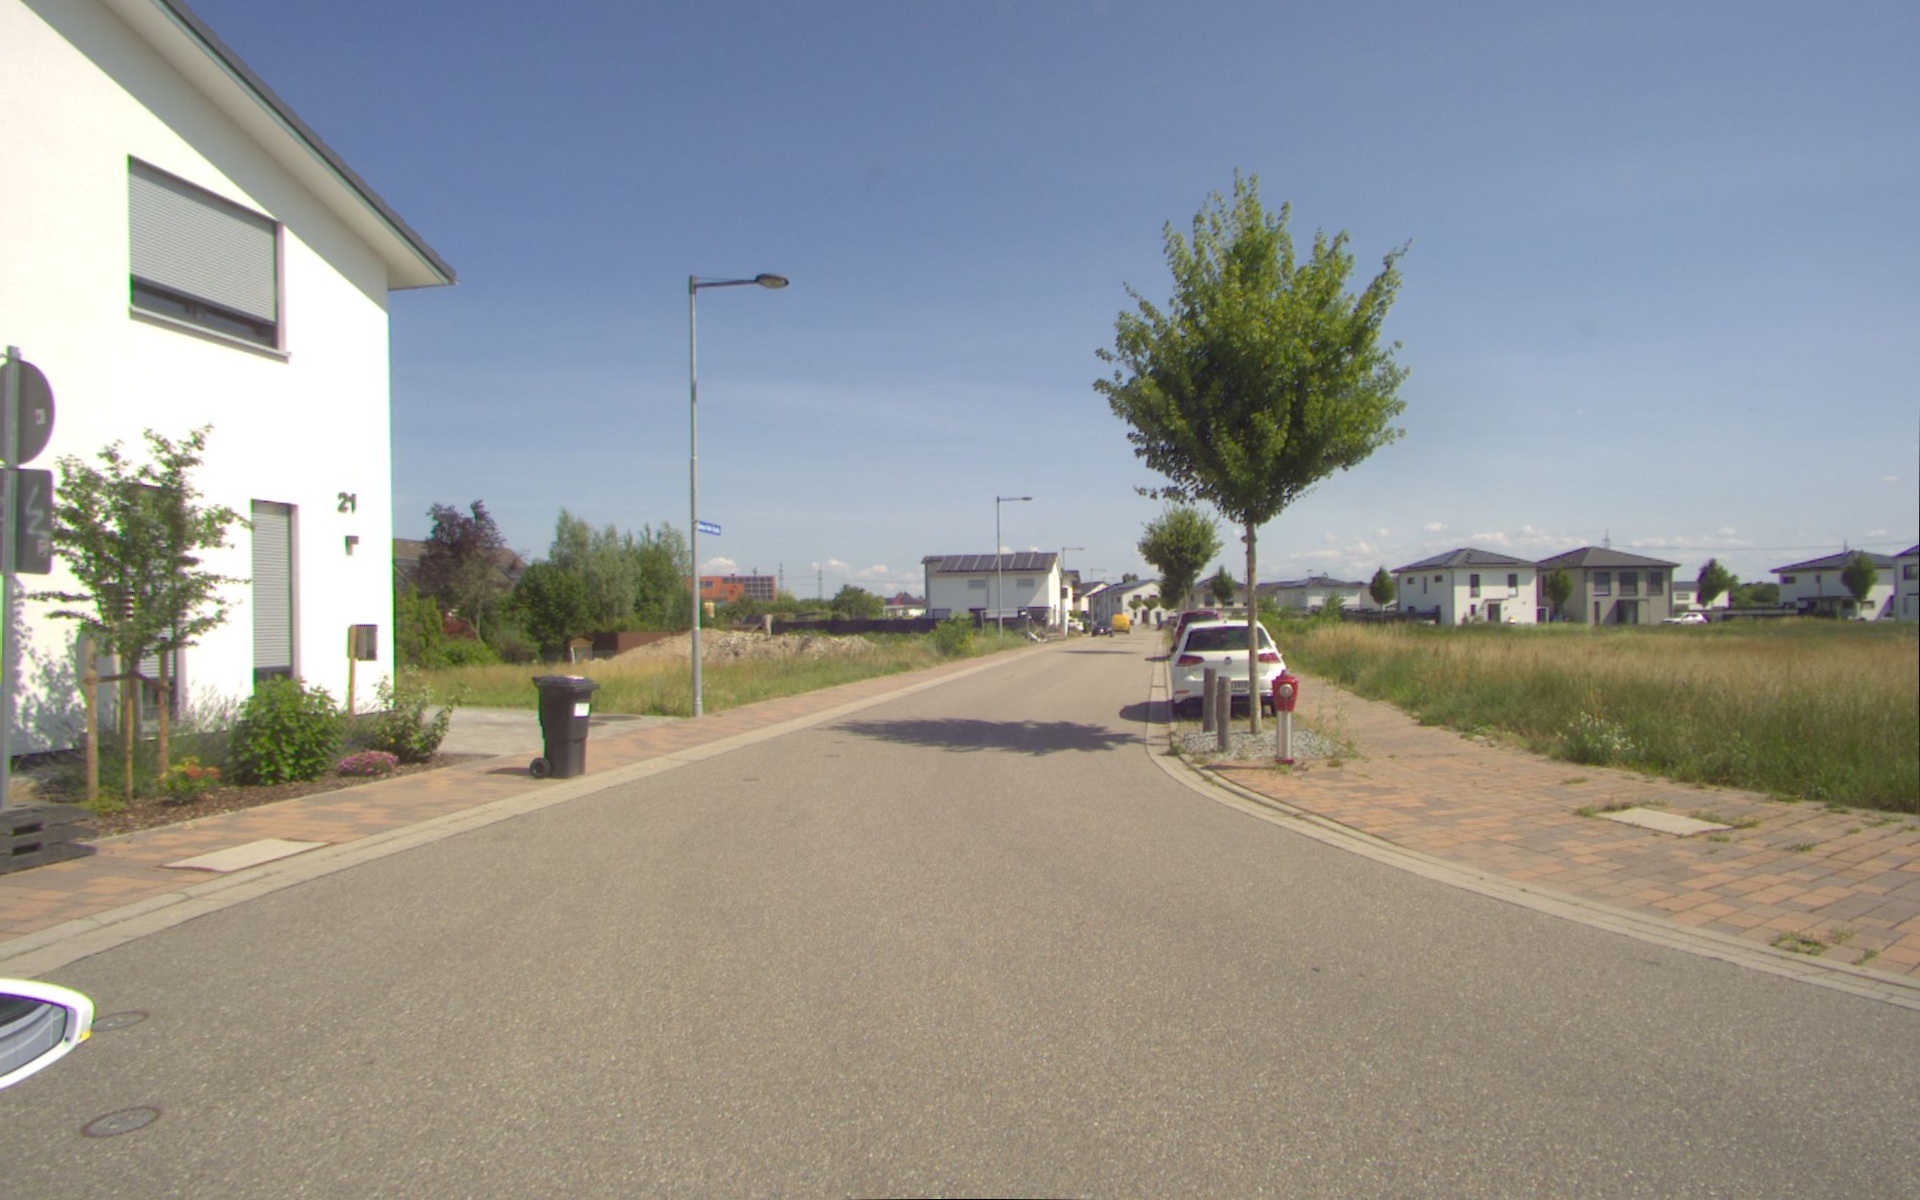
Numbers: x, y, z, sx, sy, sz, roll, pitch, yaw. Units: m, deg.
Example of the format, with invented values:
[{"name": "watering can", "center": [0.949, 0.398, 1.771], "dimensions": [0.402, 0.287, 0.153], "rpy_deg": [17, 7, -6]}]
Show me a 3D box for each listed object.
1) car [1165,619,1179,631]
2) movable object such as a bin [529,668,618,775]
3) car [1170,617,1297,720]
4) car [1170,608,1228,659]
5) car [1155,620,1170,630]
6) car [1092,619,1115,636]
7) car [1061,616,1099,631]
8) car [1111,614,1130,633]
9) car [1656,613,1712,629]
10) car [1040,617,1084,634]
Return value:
[{"name": "car", "center": [26.697, 3.118, 126.096], "dimensions": [1.613, 1.420, 3.811], "rpy_deg": [-1, -3, 10]}, {"name": "movable object such as a bin", "center": [-3.644, 1.130, 9.468], "dimensions": [0.613, 0.960, 0.500], "rpy_deg": [0, -1, 7]}, {"name": "car", "center": [4.428, 1.043, 16.747], "dimensions": [1.748, 1.438, 4.163], "rpy_deg": [-2, -1, 12]}, {"name": "car", "center": [8.468, 1.148, 35.766], "dimensions": [1.749, 1.685, 4.431], "rpy_deg": [-2, -1, 11]}, {"name": "car", "center": [29.239, 3.644, 144.578], "dimensions": [1.601, 1.338, 3.837], "rpy_deg": [0, -3, 5]}, {"name": "car", "center": [12.651, 2.428, 88.123], "dimensions": [1.718, 1.423, 4.158], "rpy_deg": [2, -1, 11]}, {"name": "car", "center": [14.270, 2.802, 119.245], "dimensions": [4.094, 1.524, 1.815], "rpy_deg": [4, -1, -4]}, {"name": "car", "center": [17.261, 2.581, 107.620], "dimensions": [1.910, 2.006, 4.218], "rpy_deg": [-1, -2, 8]}, {"name": "car", "center": [66.856, 1.947, 92.497], "dimensions": [3.922, 1.416, 1.751], "rpy_deg": [0, -2, -2]}, {"name": "car", "center": [10.140, 2.524, 99.305], "dimensions": [4.008, 1.602, 1.781], "rpy_deg": [1, 0, 18]}]
